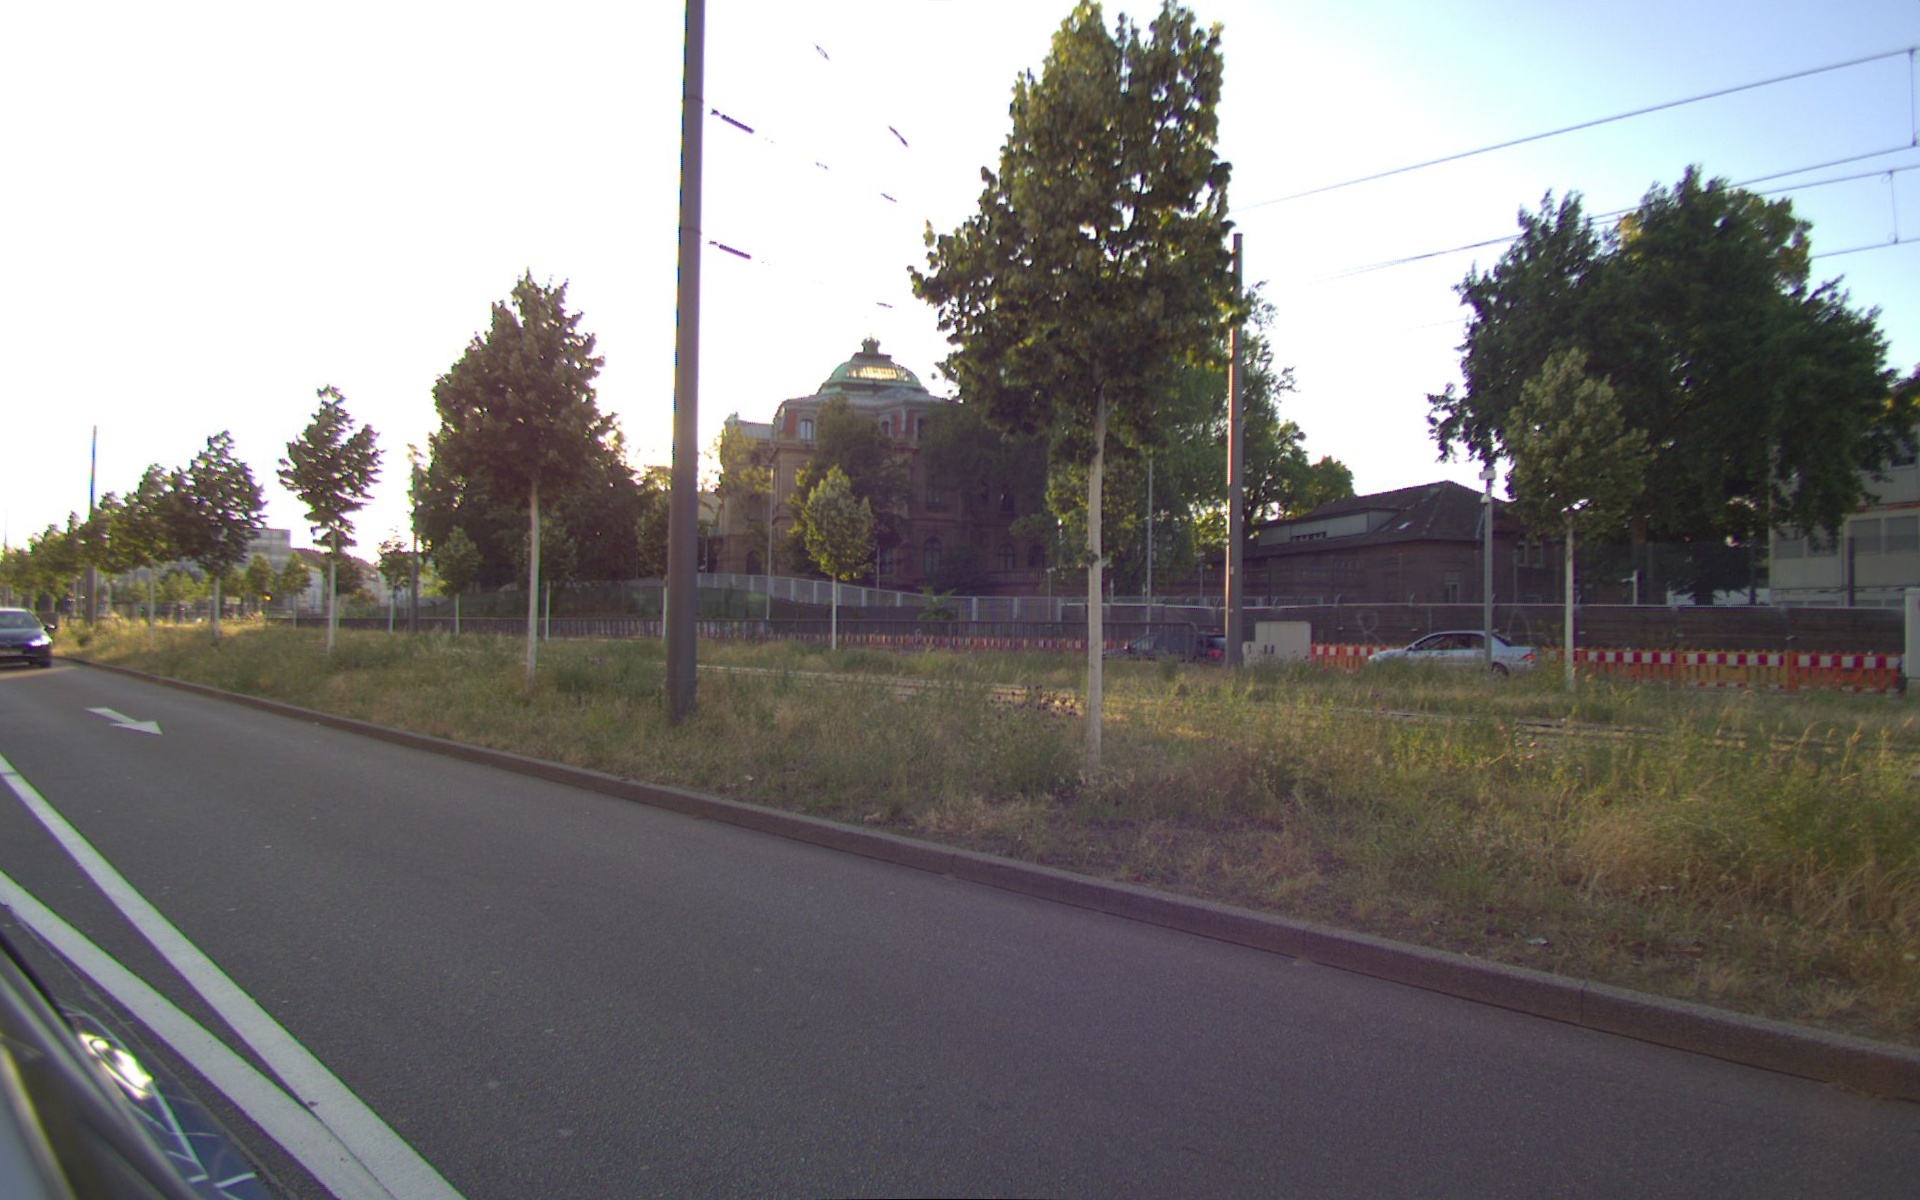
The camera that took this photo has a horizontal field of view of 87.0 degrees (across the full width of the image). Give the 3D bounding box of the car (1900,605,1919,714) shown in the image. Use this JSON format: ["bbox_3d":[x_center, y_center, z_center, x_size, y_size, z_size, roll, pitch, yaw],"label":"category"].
[{"bbox_3d":[21.497,1.133,19.595,4.752,2.184,1.971,-3,-2,44],"label":"car"}]

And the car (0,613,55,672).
[{"bbox_3d":[-25.425,1.137,26.743,4.842,1.444,1.834,-3,-2,43],"label":"car"}]

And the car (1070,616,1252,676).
[{"bbox_3d":[5.452,1.251,27.826,4.522,1.492,1.972,-3,-2,43],"label":"car"}]

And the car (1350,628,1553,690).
[{"bbox_3d":[13.149,1.557,27.250,4.521,1.492,1.972,-3,-2,42],"label":"car"}]
